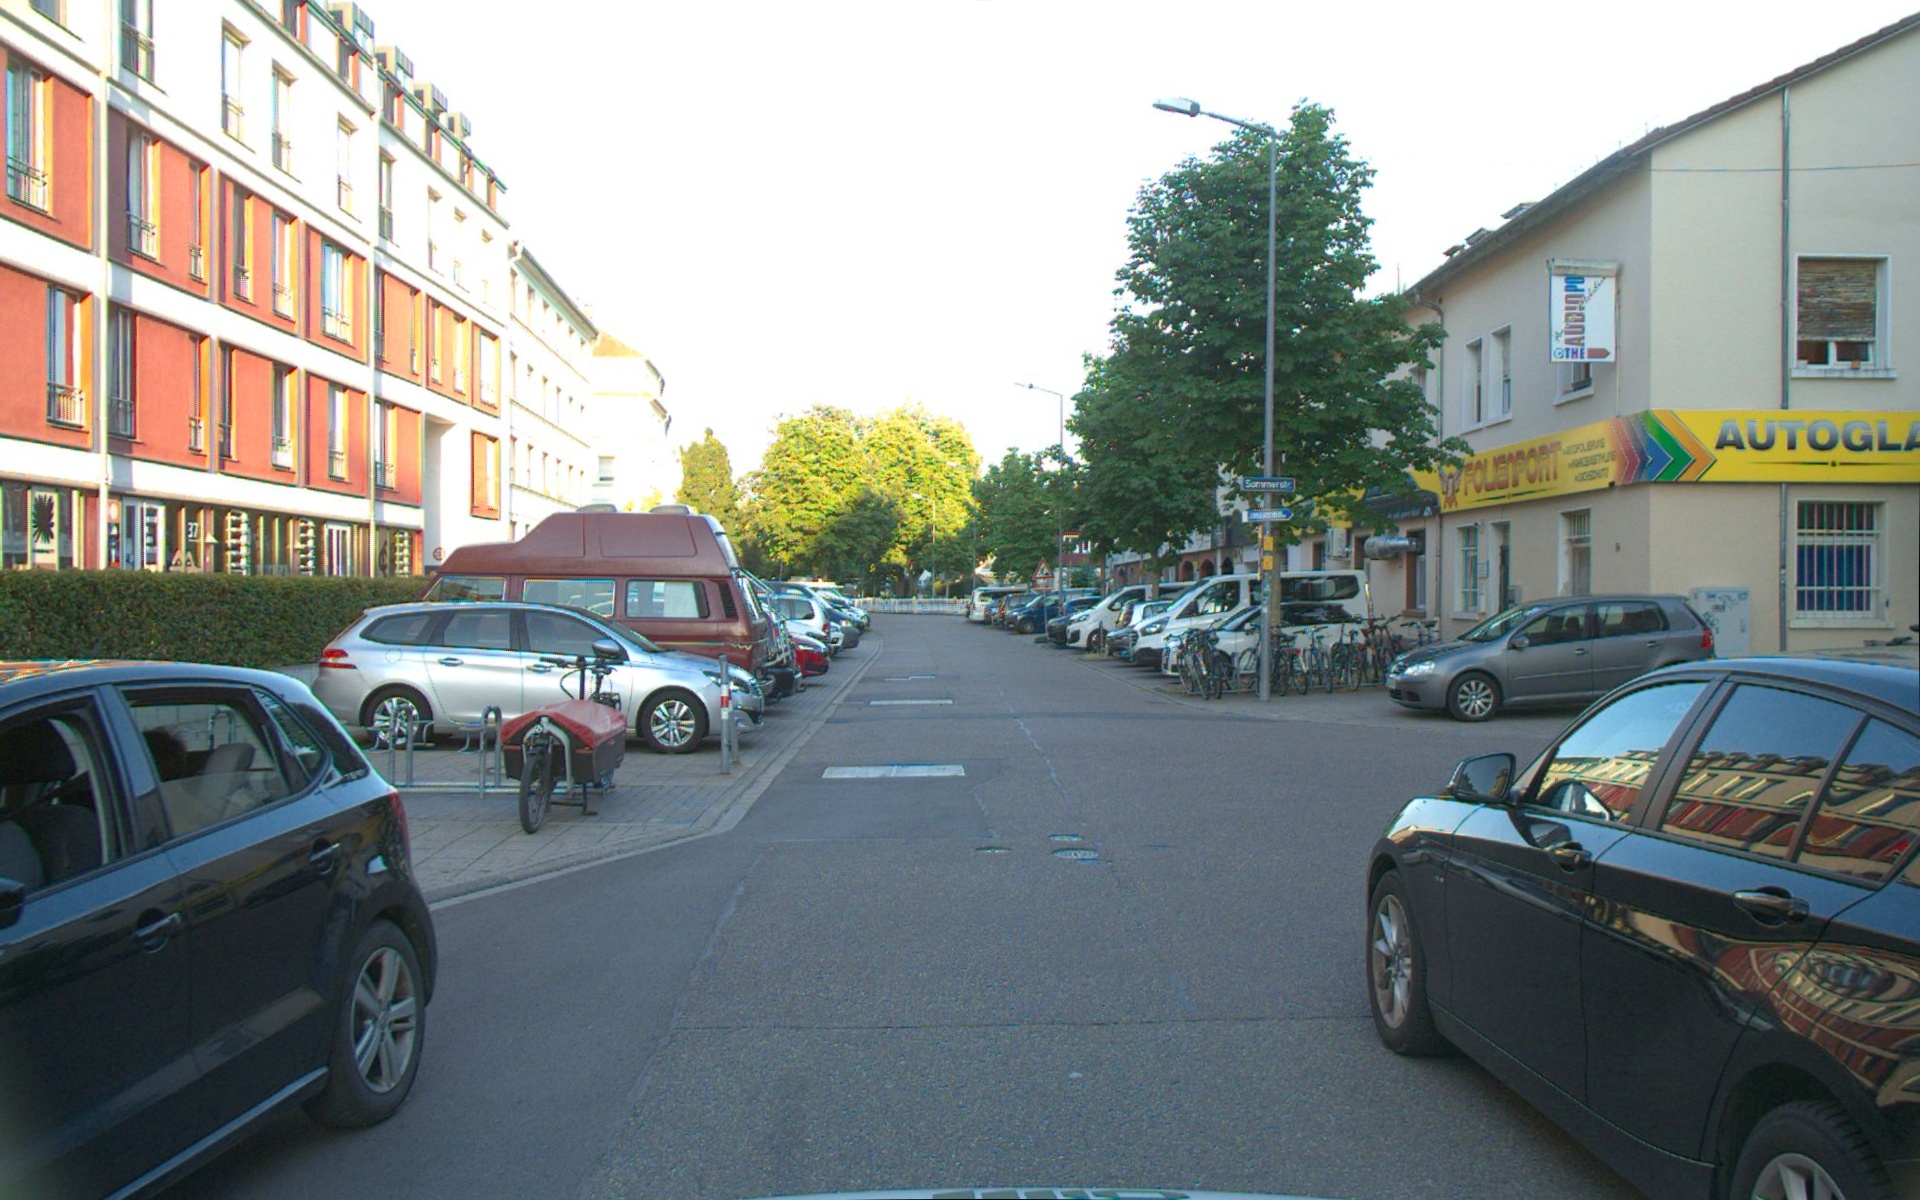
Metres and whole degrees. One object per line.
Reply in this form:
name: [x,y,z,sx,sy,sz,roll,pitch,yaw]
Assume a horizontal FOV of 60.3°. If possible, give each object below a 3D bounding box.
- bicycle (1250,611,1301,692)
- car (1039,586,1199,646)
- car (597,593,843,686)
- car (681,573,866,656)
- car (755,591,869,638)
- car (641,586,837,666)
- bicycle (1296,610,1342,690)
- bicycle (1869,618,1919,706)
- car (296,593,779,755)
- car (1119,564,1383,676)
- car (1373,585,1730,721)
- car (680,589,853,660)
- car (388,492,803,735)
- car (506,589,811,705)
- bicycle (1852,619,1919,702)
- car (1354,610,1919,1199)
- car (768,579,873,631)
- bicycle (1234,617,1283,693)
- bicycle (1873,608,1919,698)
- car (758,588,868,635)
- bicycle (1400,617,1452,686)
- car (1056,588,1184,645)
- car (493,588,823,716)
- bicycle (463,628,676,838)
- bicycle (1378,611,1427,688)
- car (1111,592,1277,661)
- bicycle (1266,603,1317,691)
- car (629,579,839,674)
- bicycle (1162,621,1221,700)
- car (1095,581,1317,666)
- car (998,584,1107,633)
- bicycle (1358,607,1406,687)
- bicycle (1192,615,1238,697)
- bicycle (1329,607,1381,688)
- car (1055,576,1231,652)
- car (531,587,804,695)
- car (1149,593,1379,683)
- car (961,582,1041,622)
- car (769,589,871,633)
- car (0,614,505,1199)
bicycle: [5.030,0.797,26.443,0.378,1.221,2.017,-1,0,-1]
car: [5.097,0.500,53.475,4.845,1.718,2.076,-2,0,-3]
car: [-4.261,0.692,29.847,4.123,1.516,1.849,1,0,-1]
car: [-4.986,0.385,44.638,4.752,2.056,1.906,1,0,-1]
car: [-5.590,0.547,62.981,4.171,1.650,1.999,1,0,-2]
car: [-4.977,0.578,37.728,4.170,1.689,2.000,1,0,-1]
bicycle: [5.701,0.777,26.306,0.378,1.221,1.481,-1,0,-1]
bicycle: [12.670,0.806,21.319,1.696,1.088,0.343,1,2,-2]
car: [-4.207,0.726,17.094,4.525,1.486,1.879,1,0,-5]
car: [5.786,0.389,33.380,4.888,2.018,2.219,-2,0,-1]
car: [7.516,0.646,21.267,3.967,1.540,1.756,-1,2,0]
car: [-4.873,0.608,42.085,4.170,1.681,1.887,1,0,-1]
car: [-4.213,0.145,19.672,4.418,2.629,2.000,1,0,0]
car: [-4.458,0.672,24.802,4.120,1.565,1.843,1,0,5]
bicycle: [12.567,0.798,21.665,1.570,1.037,0.343,1,2,-2]
car: [2.380,0.791,4.119,1.686,1.449,4.252,1,0,-1]
car: [-6.124,0.214,73.123,4.441,2.171,2.000,1,0,-1]
bicycle: [4.751,0.859,26.452,0.378,1.133,2.017,-1,0,-1]
bicycle: [13.268,0.721,22.164,1.822,1.169,0.344,1,2,0]
car: [-5.801,0.450,65.719,4.170,1.744,2.000,1,0,-1]
bicycle: [7.438,0.805,26.419,0.380,1.035,1.481,-1,0,-1]
car: [5.629,0.566,58.390,4.230,1.835,1.810,-2,0,-3]
car: [-3.962,0.671,22.244,4.125,1.565,1.790,1,0,-3]
bicycle: [-2.702,0.856,11.822,0.791,1.243,2.865,1,0,0]
bicycle: [7.041,0.771,26.367,0.346,1.163,1.481,-1,0,-1]
car: [5.796,0.651,41.357,3.832,1.552,1.939,-2,0,0]
bicycle: [5.286,0.728,26.456,0.378,1.327,2.017,-1,0,-1]
car: [-4.755,0.547,35.259,4.170,1.868,2.000,1,0,-1]
bicycle: [3.650,0.934,26.215,0.429,1.150,2.014,-1,0,-6]
car: [5.686,0.526,38.723,4.843,1.772,2.049,-2,0,0]
car: [3.955,0.351,71.055,4.392,1.945,1.686,-2,0,-6]
bicycle: [6.688,0.725,26.281,0.346,1.221,1.481,-1,0,-1]
bicycle: [4.056,0.867,26.408,0.378,1.221,2.017,-1,0,-1]
bicycle: [6.267,0.733,26.283,0.436,1.221,1.481,-1,0,-1]
car: [5.323,0.395,48.634,4.845,1.992,2.048,-2,0,-3]
car: [-4.691,0.645,27.058,4.125,1.603,1.999,1,0,-3]
car: [5.568,0.679,30.590,3.841,1.476,1.767,-2,0,-4]
car: [2.117,0.115,86.501,3.891,1.945,2.047,-2,0,-6]
car: [-5.937,0.462,70.489,4.170,1.780,2.000,1,0,-1]
car: [-2.572,0.839,3.690,1.617,1.480,3.944,-3,0,6]
